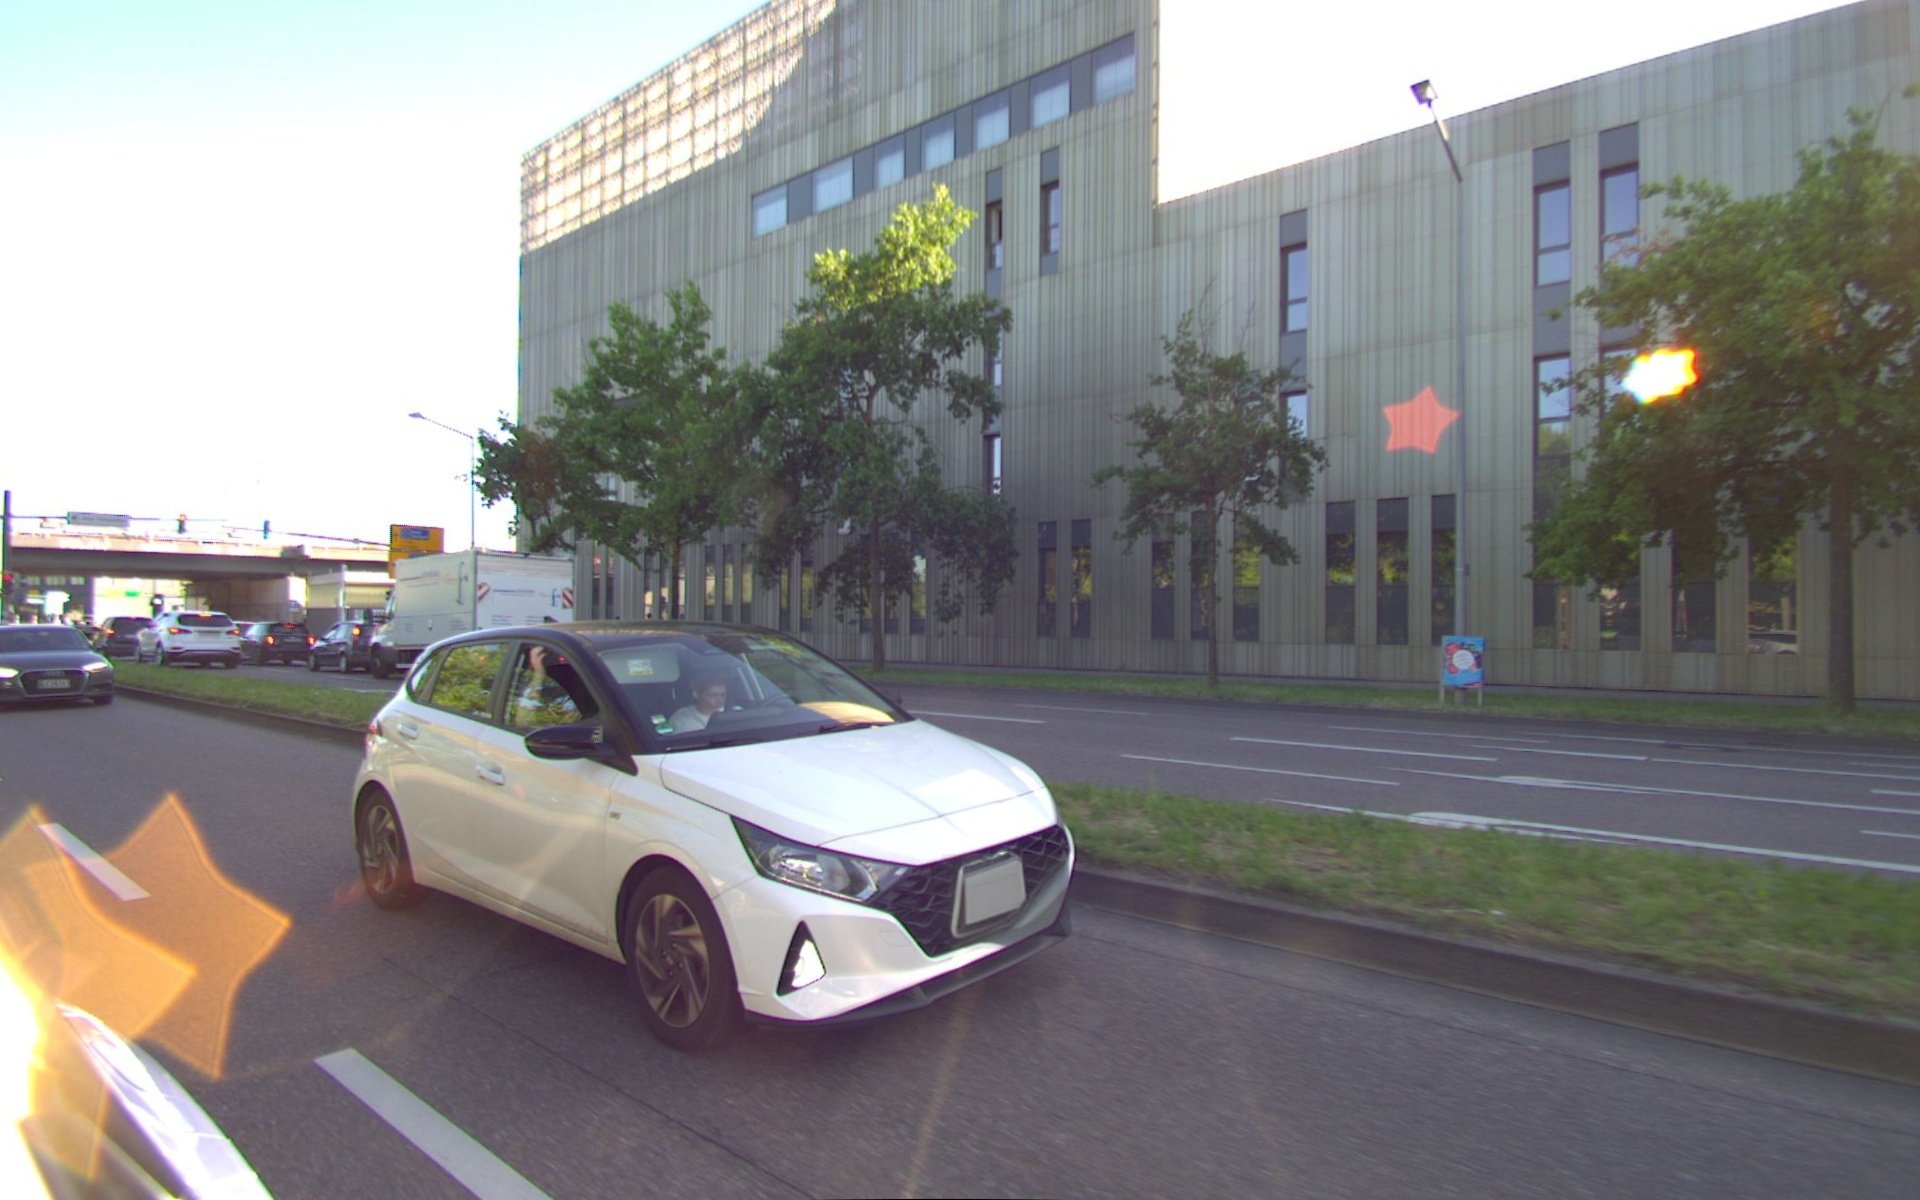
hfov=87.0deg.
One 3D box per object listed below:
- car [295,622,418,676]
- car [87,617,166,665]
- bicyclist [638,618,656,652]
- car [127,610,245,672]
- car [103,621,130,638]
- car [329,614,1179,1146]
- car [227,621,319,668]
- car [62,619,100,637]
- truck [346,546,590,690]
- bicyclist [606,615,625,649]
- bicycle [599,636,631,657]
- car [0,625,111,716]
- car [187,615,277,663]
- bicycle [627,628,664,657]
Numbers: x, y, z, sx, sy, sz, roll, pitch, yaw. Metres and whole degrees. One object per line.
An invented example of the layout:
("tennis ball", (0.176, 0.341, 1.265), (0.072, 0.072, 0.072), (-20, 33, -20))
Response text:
("car", (-17.310, 1.385, 28.974), (3.997, 1.435, 1.816), (-2, -3, 40))
("car", (-28.977, 1.397, 35.164), (3.211, 1.592, 1.585), (-1, -3, 41))
("bicyclist", (-14.055, 1.550, 45.415), (0.644, 1.518, 0.502), (-1, -2, 40))
("car", (-23.085, 1.203, 30.124), (4.655, 1.695, 1.805), (-1, -3, 40))
("car", (-74.608, 2.577, 89.483), (1.473, 1.422, 3.941), (2, -2, -45))
("car", (-1.233, 0.797, 4.733), (4.071, 1.419, 1.760), (-1, -1, 40))
("car", (-22.840, 1.474, 33.593), (3.638, 1.481, 1.603), (-1, -4, 41))
("car", (-74.343, 2.395, 85.556), (4.878, 1.452, 1.685), (-1, -3, 40))
("truck", (-12.036, 0.481, 24.429), (7.111, 2.983, 2.658), (-1, -4, 41))
("bicyclist", (-15.208, 1.412, 44.687), (0.752, 1.453, 0.502), (-1, -2, 40))
("bicycle", (-15.223, 2.055, 44.678), (1.753, 0.897, 0.507), (-1, -2, 40))
("car", (-16.451, 1.156, 17.744), (4.362, 1.415, 1.680), (-1, -2, 40))
("car", (-27.184, 1.434, 37.754), (3.998, 1.669, 1.822), (0, -2, 41))
("bicycle", (-14.129, 1.889, 45.470), (2.098, 1.280, 0.507), (-1, -2, 40))
